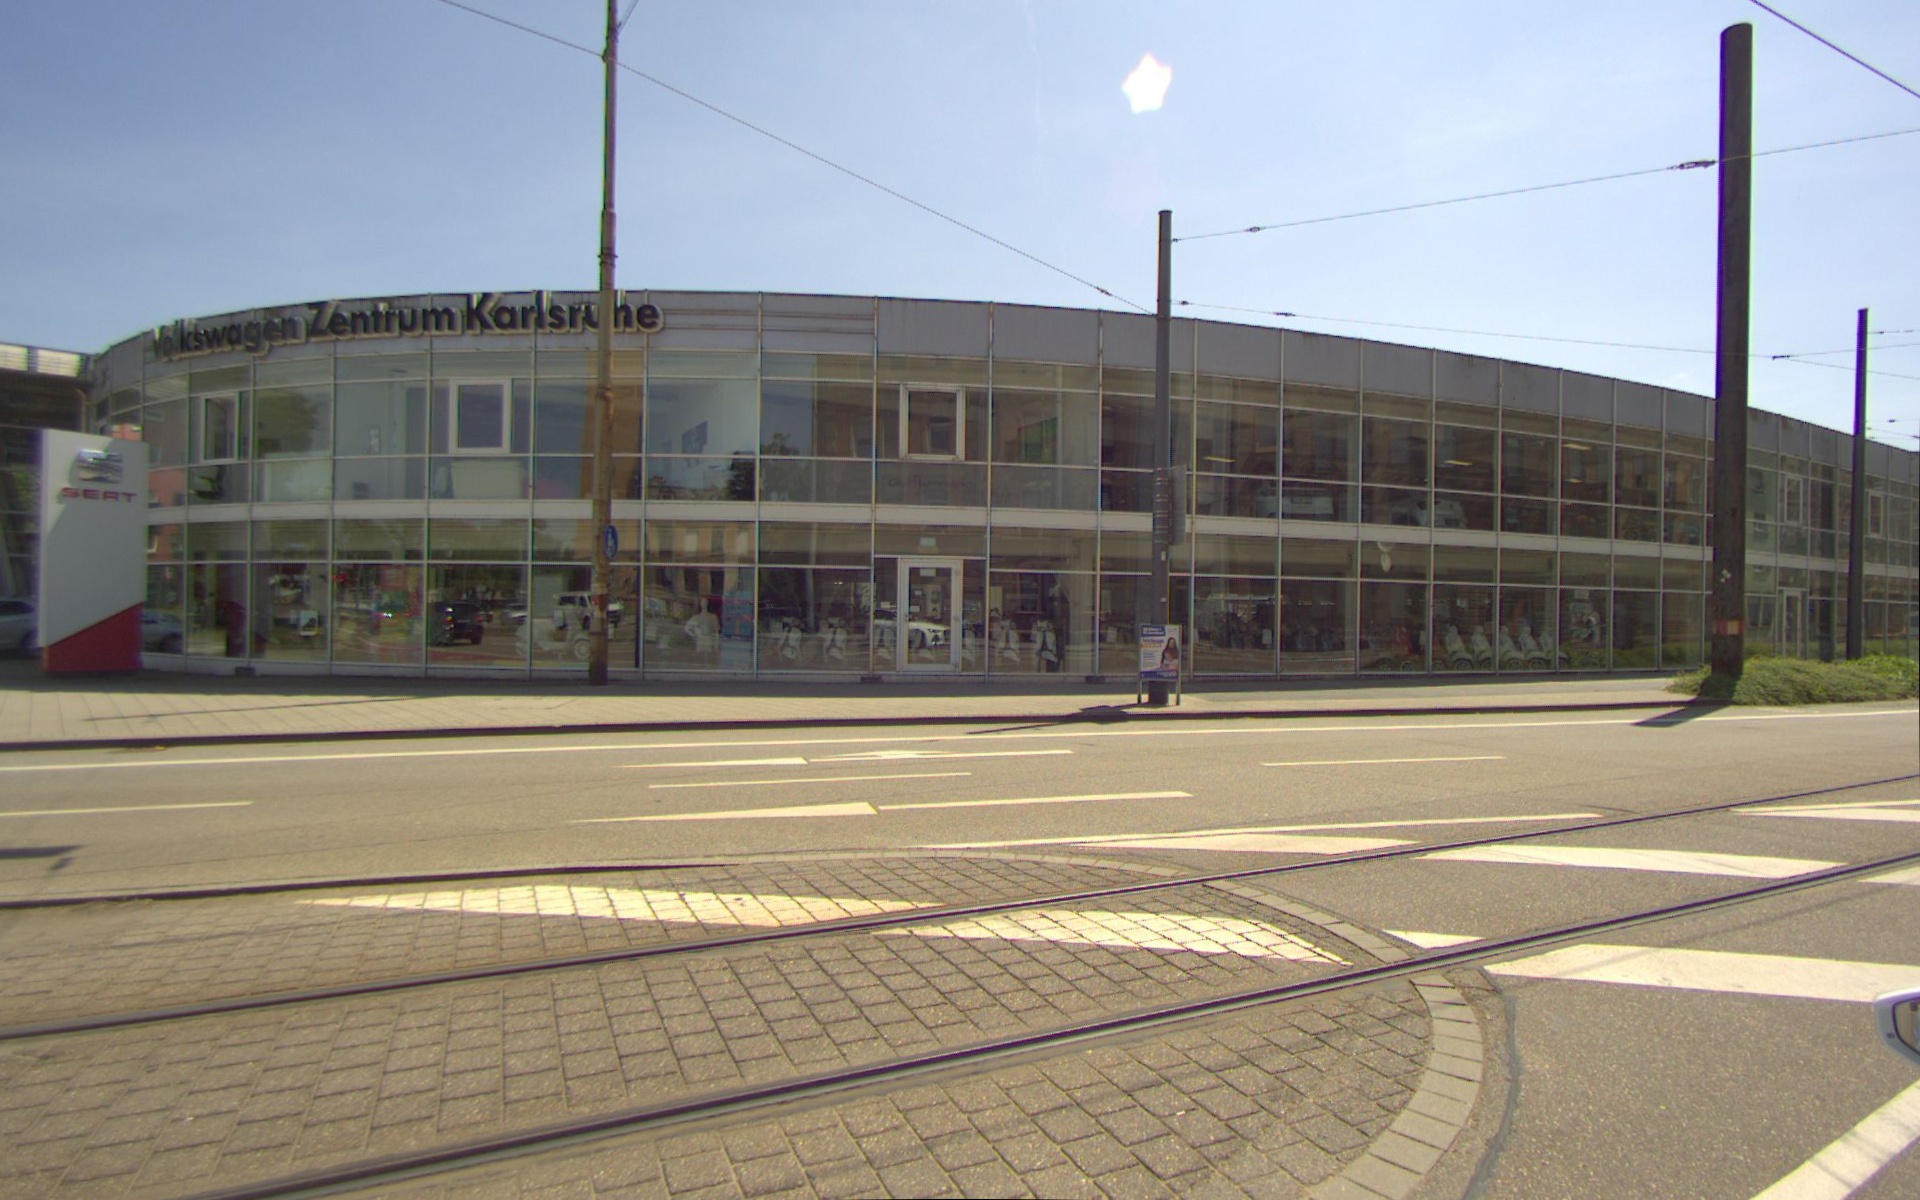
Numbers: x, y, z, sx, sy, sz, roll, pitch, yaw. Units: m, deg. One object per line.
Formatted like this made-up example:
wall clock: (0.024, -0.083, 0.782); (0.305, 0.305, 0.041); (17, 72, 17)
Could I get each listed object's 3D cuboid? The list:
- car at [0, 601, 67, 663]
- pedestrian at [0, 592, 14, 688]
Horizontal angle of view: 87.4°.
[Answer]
car: (-23.854, 0.757, 23.607); (1.473, 1.476, 4.053); (1, -1, 24)
pedestrian: (-17.112, 0.695, 17.446); (0.810, 1.664, 0.725); (1, 0, -28)
